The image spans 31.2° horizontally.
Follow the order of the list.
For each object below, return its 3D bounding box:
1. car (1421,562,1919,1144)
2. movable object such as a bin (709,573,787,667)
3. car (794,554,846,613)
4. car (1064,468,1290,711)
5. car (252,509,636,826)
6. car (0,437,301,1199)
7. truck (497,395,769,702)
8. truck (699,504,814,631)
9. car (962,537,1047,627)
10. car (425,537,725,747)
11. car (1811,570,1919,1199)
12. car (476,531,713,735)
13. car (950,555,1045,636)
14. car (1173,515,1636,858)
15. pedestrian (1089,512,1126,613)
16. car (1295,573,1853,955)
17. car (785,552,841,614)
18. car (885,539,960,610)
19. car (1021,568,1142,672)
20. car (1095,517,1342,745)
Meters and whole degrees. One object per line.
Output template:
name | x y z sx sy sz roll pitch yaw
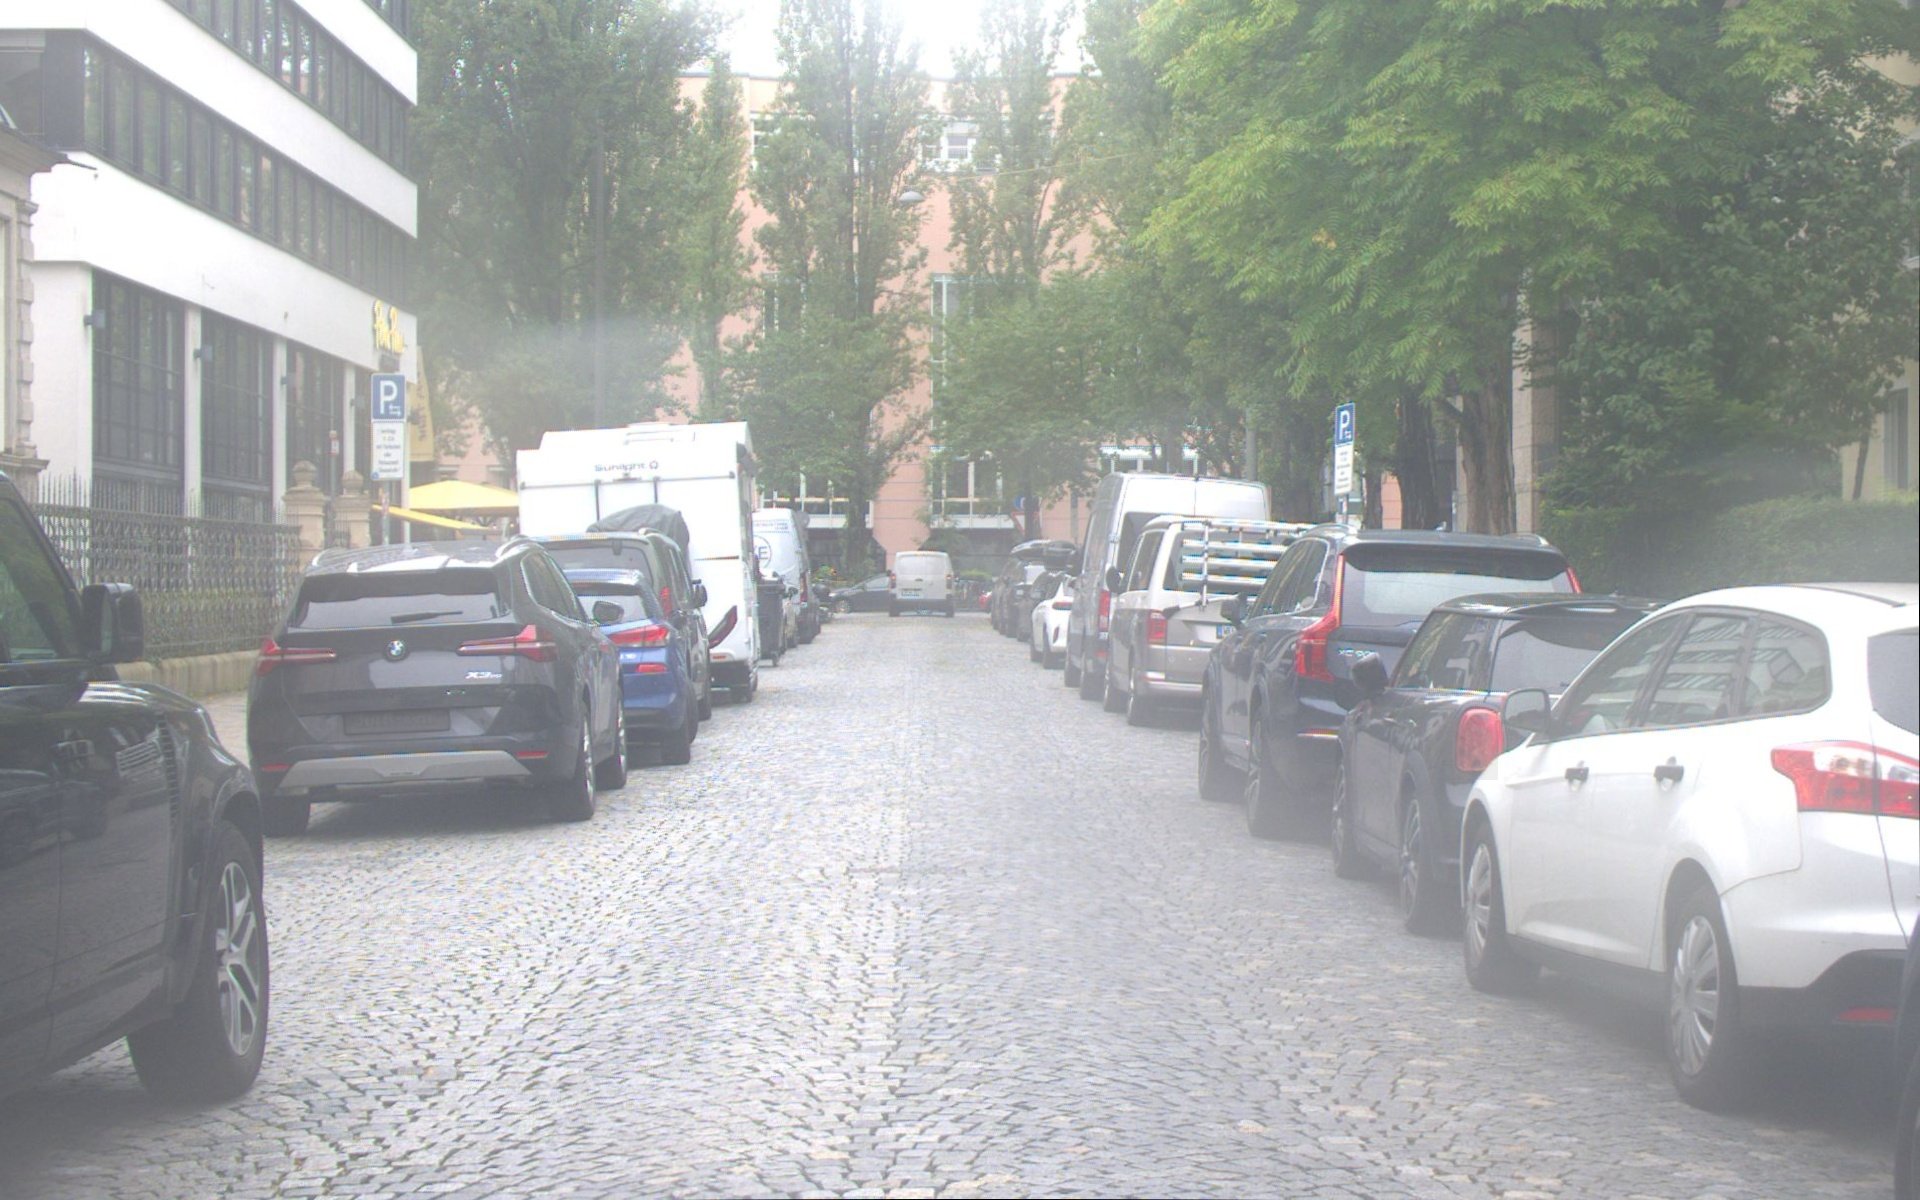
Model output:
car | 2.777 0.633 10.692 1.773 1.424 4.391 1 0 -4
movable object such as a bin | -3.155 0.296 51.284 1.064 1.359 1.289 1 0 -1
car | -3.757 -0.432 92.305 1.276 1.536 3.119 1 0 -1
car | 2.368 -0.156 38.953 1.895 2.418 5.611 4 1 -1
car | -3.039 0.370 21.063 1.773 1.712 4.391 1 0 -2
car | -2.969 0.504 7.847 1.982 1.731 4.722 1 1 0
truck | -3.448 -0.560 37.596 2.508 3.021 6.385 -1 1 -2
truck | -3.893 -0.612 66.427 1.993 2.339 4.068 1 0 -1
car | 1.009 -0.400 78.134 1.868 1.954 4.000 1 0 1
car | -2.873 0.297 26.459 1.940 1.454 4.058 1 0 -2
car | 2.796 0.728 5.197 1.709 1.477 4.250 3 0 -3
car | -3.275 0.258 31.520 1.894 1.745 4.168 0 1 -2
car | 0.761 -0.088 70.033 1.868 1.599 3.272 1 0 1
car | 2.469 0.451 20.375 1.963 1.753 4.954 1 0 -1
pedestrian | 3.669 -0.949 85.762 0.711 2.417 0.813 -5 4 1
car | 2.630 0.649 15.626 1.683 1.448 3.966 2 0 -1
car | -3.717 -0.418 87.238 1.290 1.534 3.119 1 0 -1
car | -1.029 -0.700 96.376 1.996 1.929 4.000 1 0 1
car | 1.791 0.295 51.532 1.599 1.481 3.479 1 0 -1
car | 2.409 0.274 33.247 1.800 1.943 4.860 3 0 -1
